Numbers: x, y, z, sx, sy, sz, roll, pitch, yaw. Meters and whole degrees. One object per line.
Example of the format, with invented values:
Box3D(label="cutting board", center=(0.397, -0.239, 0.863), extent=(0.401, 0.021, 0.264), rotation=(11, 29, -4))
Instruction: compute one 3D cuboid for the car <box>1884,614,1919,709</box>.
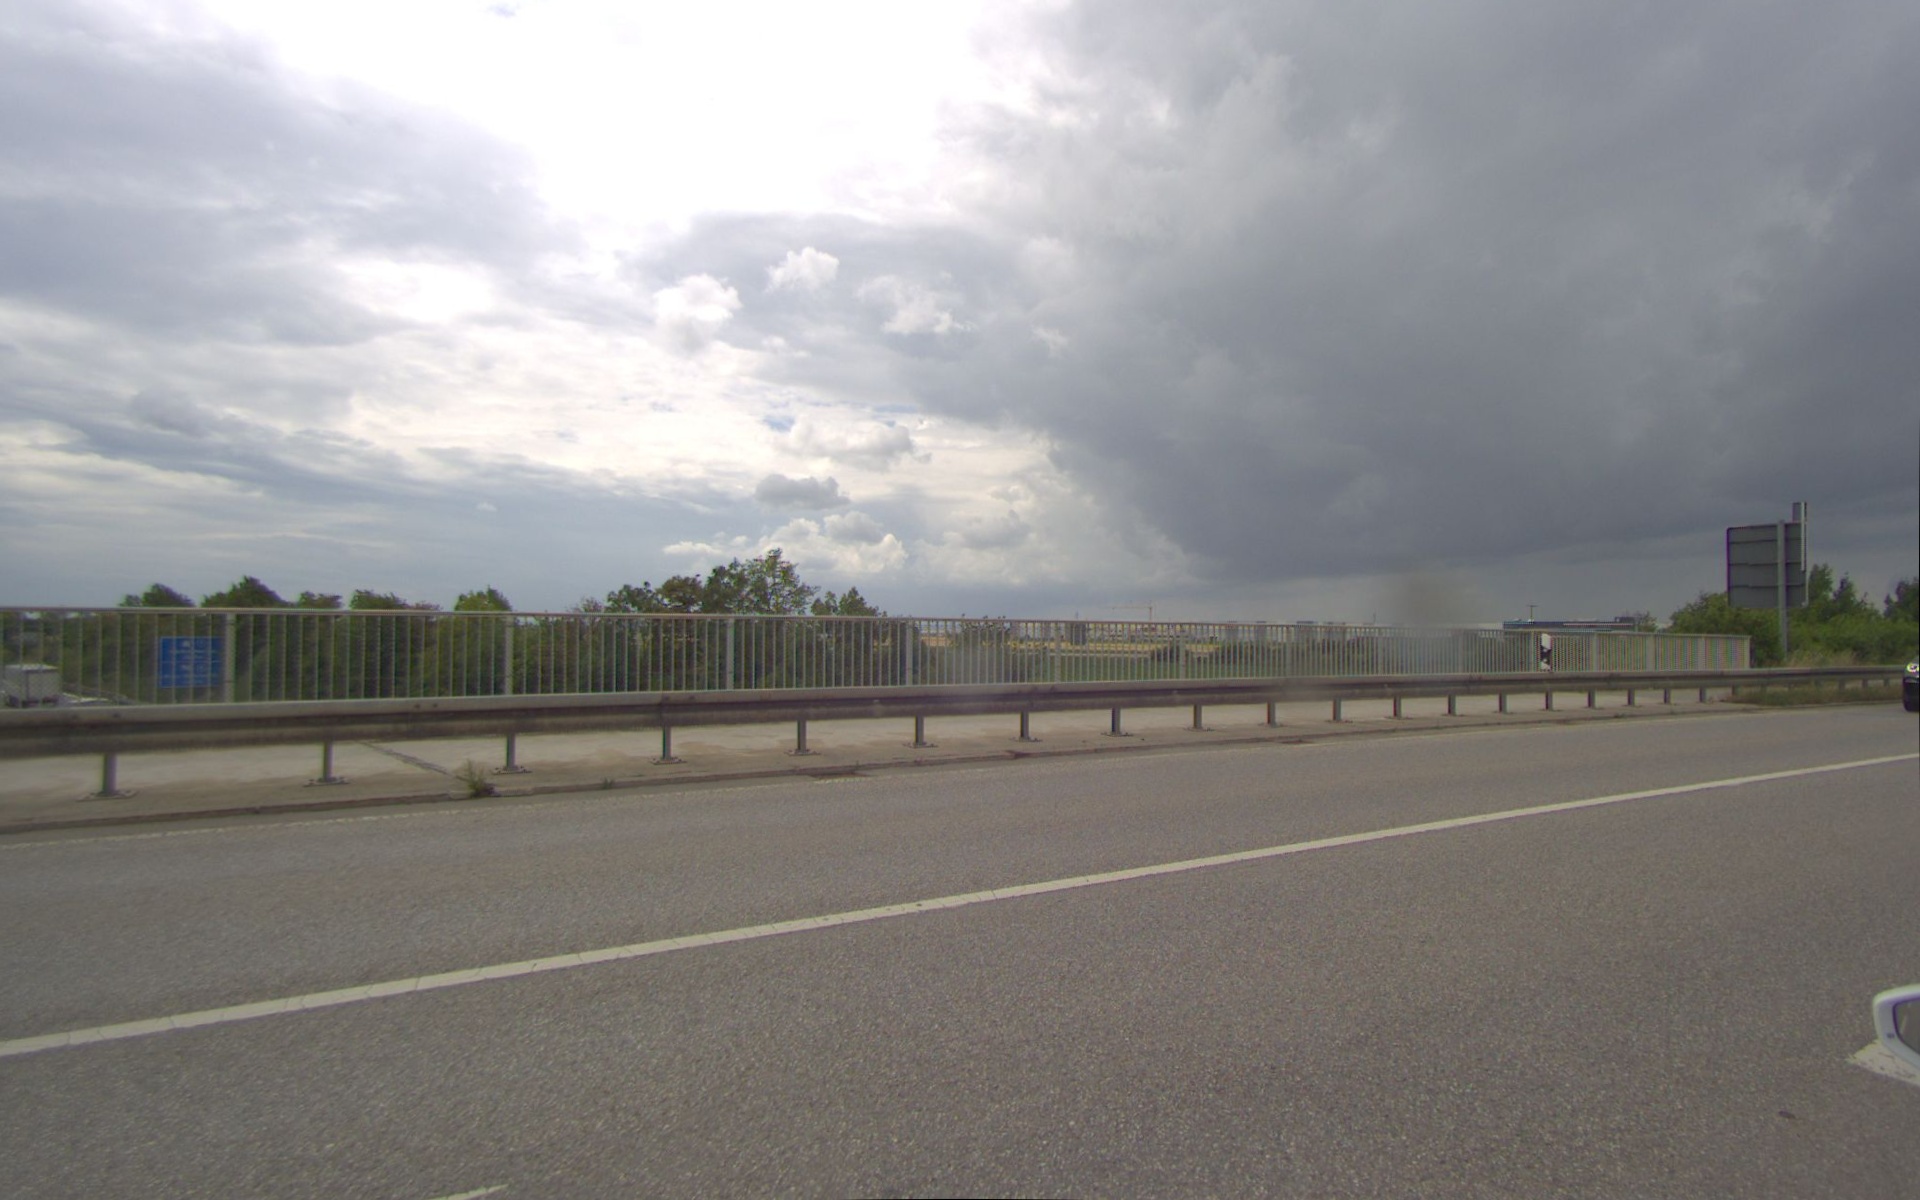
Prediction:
Box3D(label="car", center=(20.070, 1.232, 19.349), extent=(4.705, 1.755, 1.985), rotation=(2, -1, -29))
